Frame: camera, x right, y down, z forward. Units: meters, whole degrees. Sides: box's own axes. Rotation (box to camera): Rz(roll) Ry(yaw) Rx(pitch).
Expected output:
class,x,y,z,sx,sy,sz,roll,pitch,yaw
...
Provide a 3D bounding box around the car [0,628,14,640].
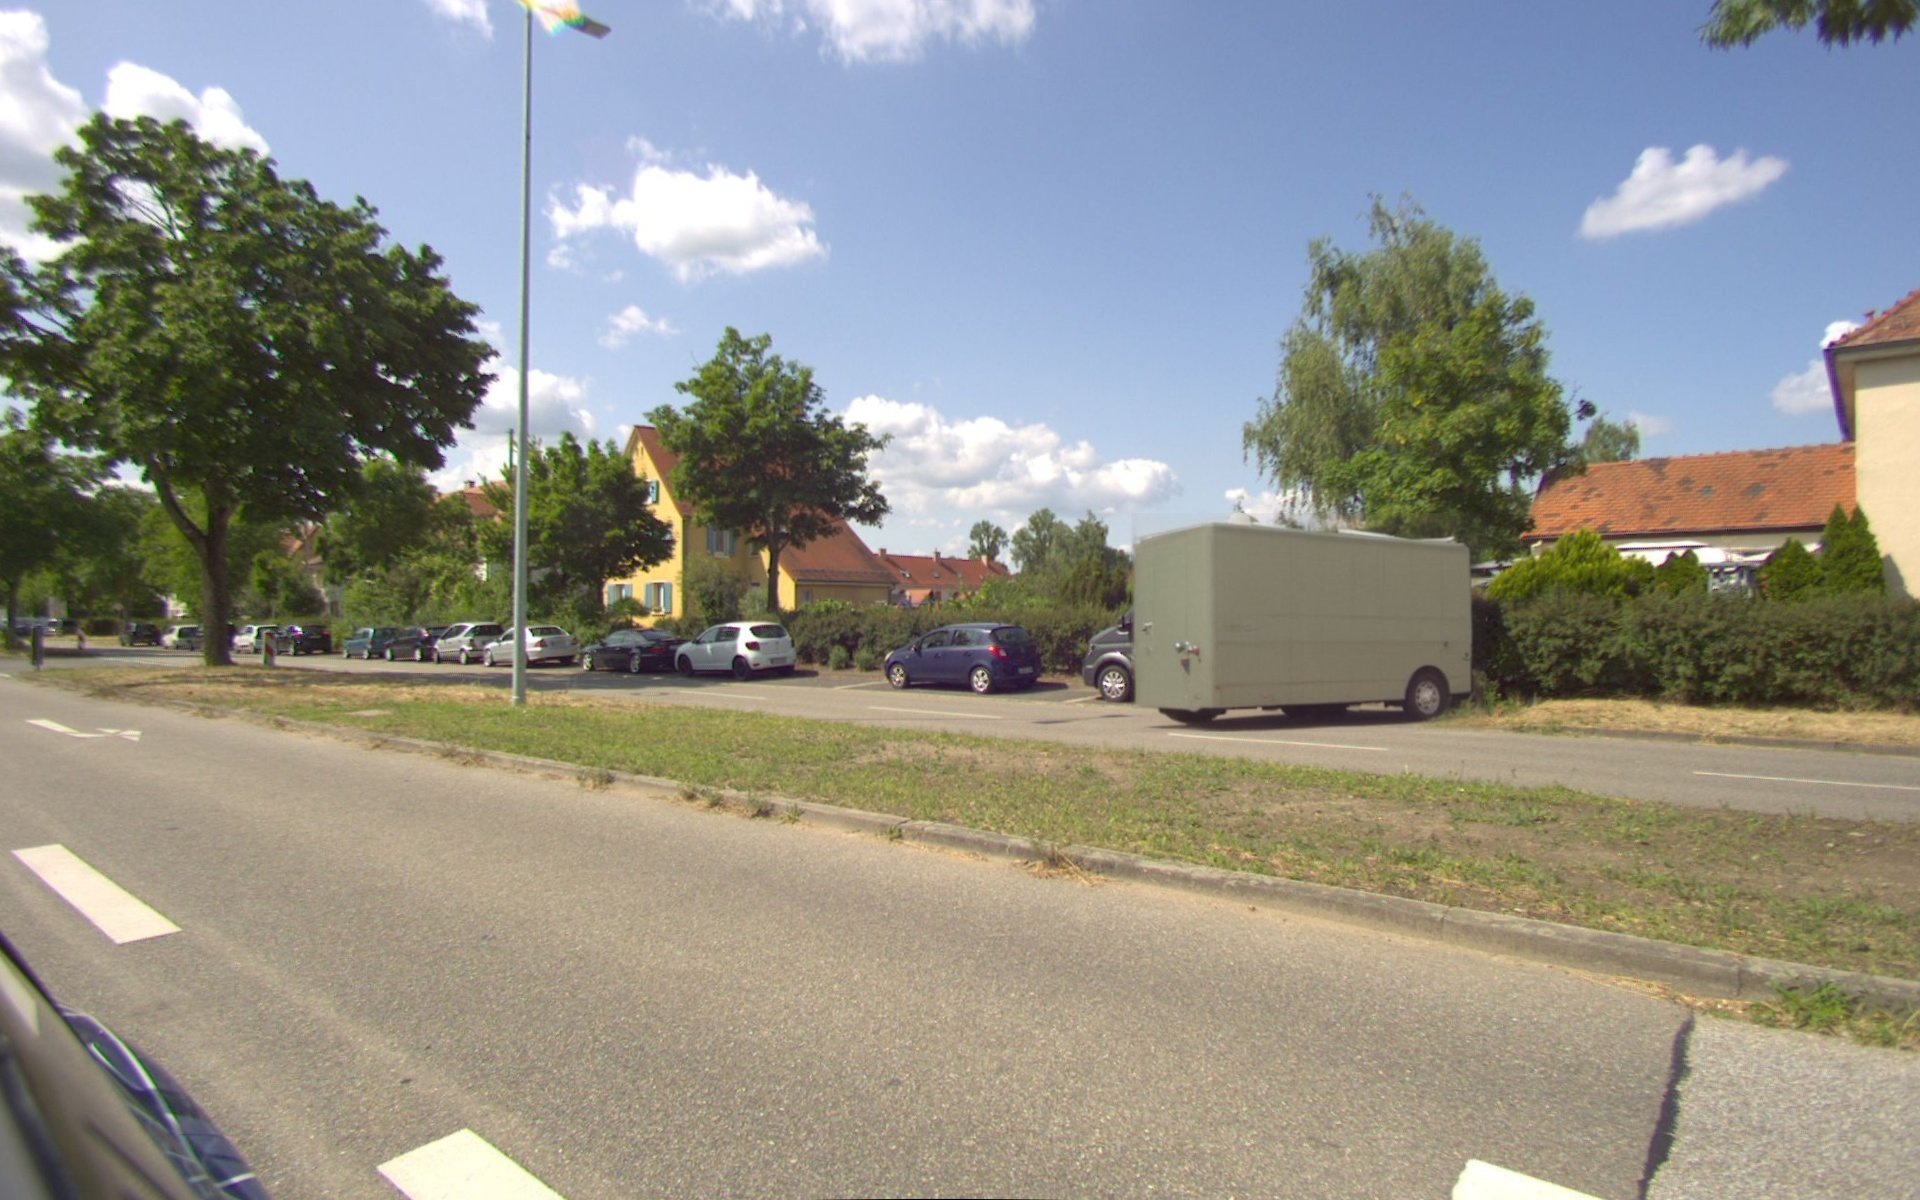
class,x,y,z,sx,sy,sz,roll,pitch,yaw
car,-124.023,4.365,130.165,1.645,1.475,3.828,-1,1,-9

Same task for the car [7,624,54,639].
class,x,y,z,sx,sy,sz,roll,pitch,yaw
car,-101.076,3.445,110.095,1.550,1.408,4.004,-1,1,-4

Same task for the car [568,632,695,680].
class,x,y,z,sx,sy,sz,roll,pitch,yaw
car,-10.275,1.715,31.510,4.582,1.316,1.619,-2,0,41

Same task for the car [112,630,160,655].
class,x,y,z,sx,sy,sz,roll,pitch,yaw
car,-57.693,2.944,70.831,3.995,1.563,1.750,-1,1,39

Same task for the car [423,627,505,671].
class,x,y,z,sx,sy,sz,roll,pitch,yaw
car,-19.275,1.858,39.262,3.738,1.569,1.389,-1,0,39

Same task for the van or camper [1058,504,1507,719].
class,x,y,z,sx,sy,sz,roll,pitch,yaw
van or camper,5.386,0.248,18.086,7.321,3.135,2.234,-2,0,43

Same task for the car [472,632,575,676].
class,x,y,z,sx,sy,sz,roll,pitch,yaw
car,-15.456,1.865,35.731,4.529,1.380,1.495,-2,0,41

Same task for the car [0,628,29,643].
class,x,y,z,sx,sy,sz,roll,pitch,yaw
car,-107.605,4.022,113.951,1.798,1.521,3.947,-1,1,39

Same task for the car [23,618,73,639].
class,x,y,z,sx,sy,sz,roll,pitch,yaw
car,-96.047,2.946,106.632,1.778,2.029,4.004,-1,1,-4

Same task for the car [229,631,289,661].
class,x,y,z,sx,sy,sz,roll,pitch,yaw
car,-38.411,2.480,55.421,3.842,1.462,1.644,-1,1,39

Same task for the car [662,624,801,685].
class,x,y,z,sx,sy,sz,roll,pitch,yaw
car,-6.439,1.471,28.323,4.122,1.496,1.671,-1,1,41

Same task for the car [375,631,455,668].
class,x,y,z,sx,sy,sz,roll,pitch,yaw
car,-22.648,2.038,41.992,4.352,1.405,1.389,-2,0,39

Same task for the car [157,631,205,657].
class,x,y,z,sx,sy,sz,roll,pitch,yaw
car,-49.445,2.762,64.196,3.531,1.472,1.578,-1,1,39

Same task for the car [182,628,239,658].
class,x,y,z,sx,sy,sz,roll,pitch,yaw
car,-44.458,2.518,60.033,4.309,1.624,1.644,-1,1,39

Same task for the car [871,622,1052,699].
class,x,y,z,sx,sy,sz,roll,pitch,yaw
car,-0.035,1.285,22.759,3.991,1.496,1.619,-1,1,41

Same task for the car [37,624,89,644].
class,x,y,z,sx,sy,sz,roll,pitch,yaw
car,-88.806,3.383,100.268,1.778,1.874,4.003,-1,-1,-4

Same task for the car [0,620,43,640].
class,x,y,z,sx,sy,sz,roll,pitch,yaw
car,-103.544,3.310,111.338,1.778,2.029,4.004,-1,1,-4

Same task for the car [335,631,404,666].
class,x,y,z,sx,sy,sz,roll,pitch,yaw
car,-26.512,2.167,45.417,3.474,1.405,1.547,-1,1,39

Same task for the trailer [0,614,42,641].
class,x,y,z,sx,sy,sz,roll,pitch,yaw
trailer,-115.492,3.315,123.336,2.781,3.132,5.768,-2,0,-13

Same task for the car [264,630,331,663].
class,x,y,z,sx,sy,sz,roll,pitch,yaw
car,-33.423,2.331,51.019,4.098,1.492,1.644,-2,0,39
